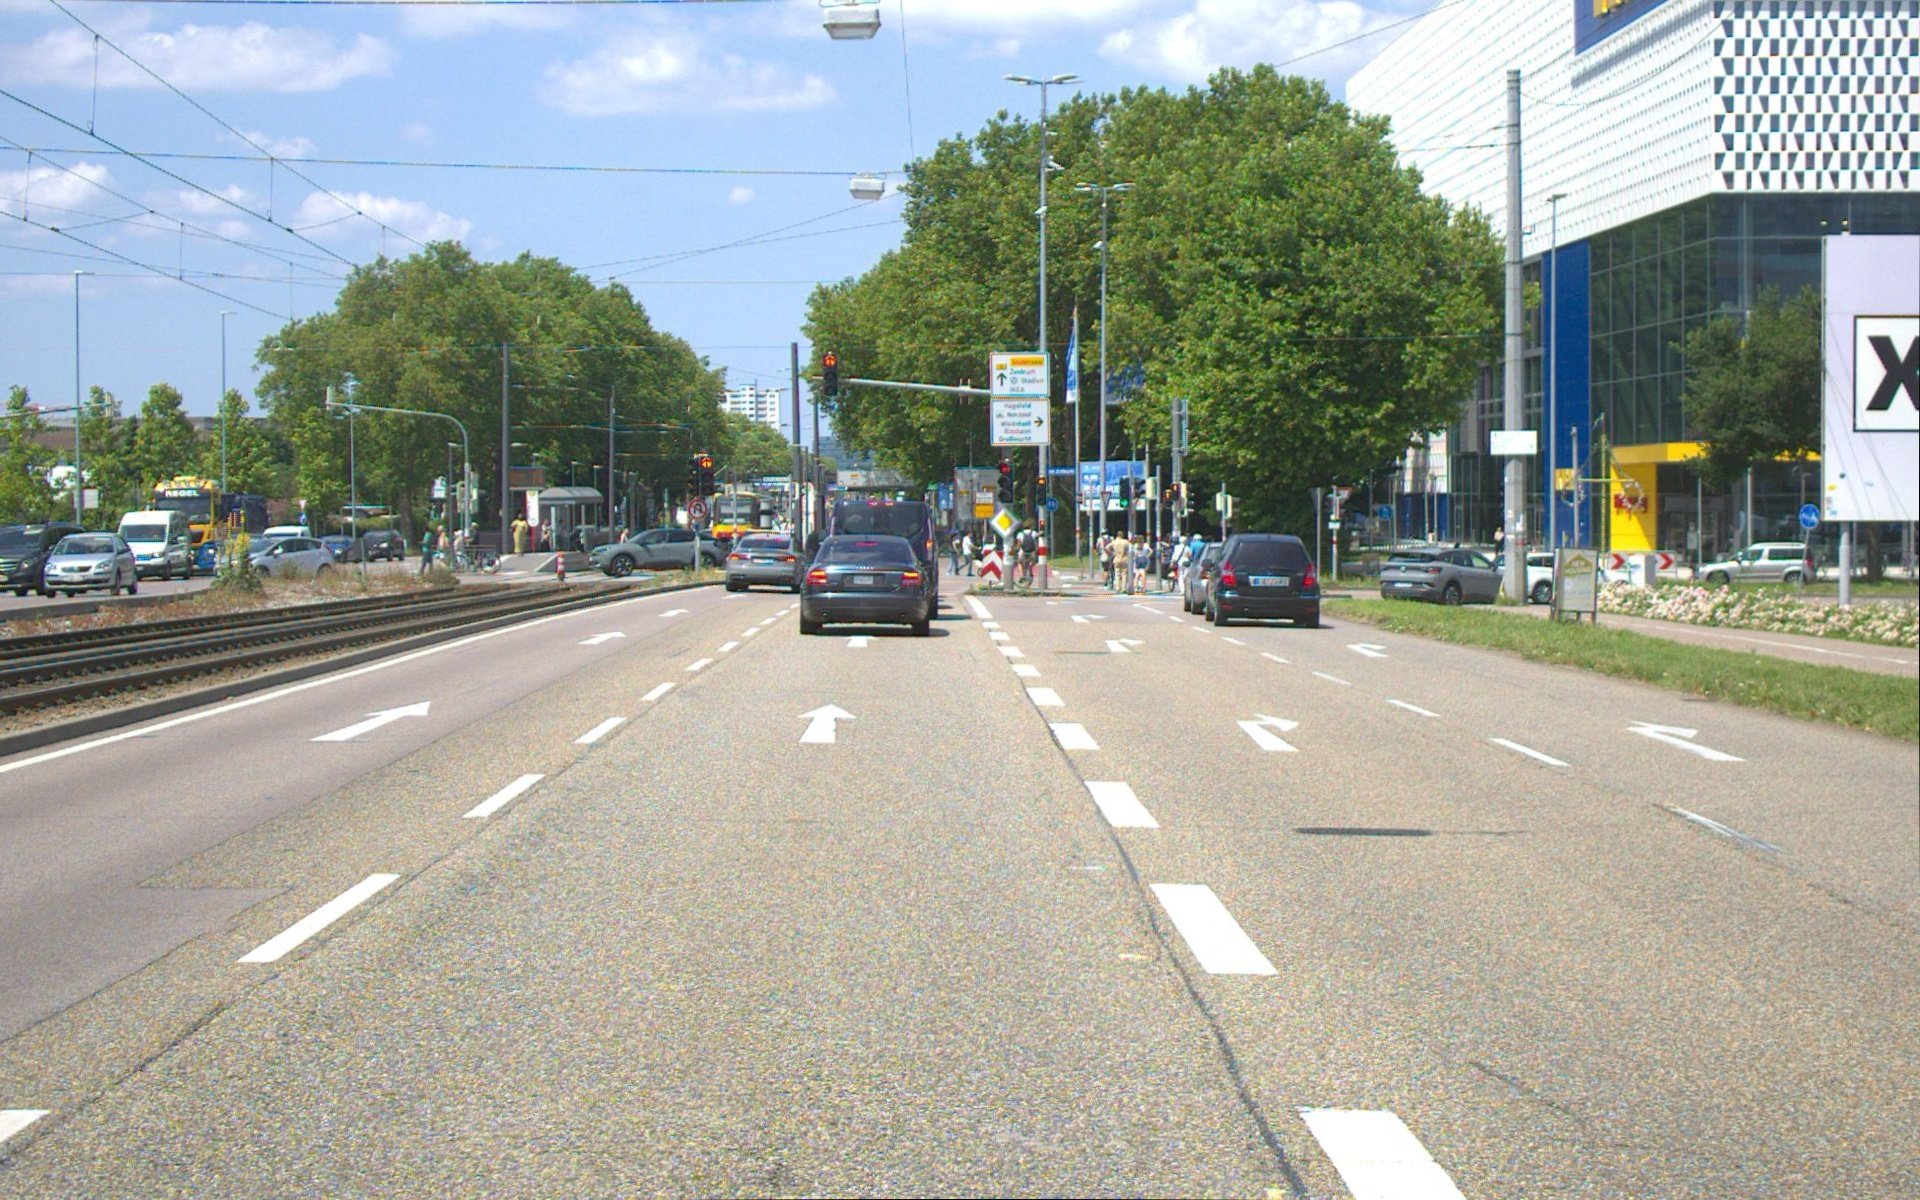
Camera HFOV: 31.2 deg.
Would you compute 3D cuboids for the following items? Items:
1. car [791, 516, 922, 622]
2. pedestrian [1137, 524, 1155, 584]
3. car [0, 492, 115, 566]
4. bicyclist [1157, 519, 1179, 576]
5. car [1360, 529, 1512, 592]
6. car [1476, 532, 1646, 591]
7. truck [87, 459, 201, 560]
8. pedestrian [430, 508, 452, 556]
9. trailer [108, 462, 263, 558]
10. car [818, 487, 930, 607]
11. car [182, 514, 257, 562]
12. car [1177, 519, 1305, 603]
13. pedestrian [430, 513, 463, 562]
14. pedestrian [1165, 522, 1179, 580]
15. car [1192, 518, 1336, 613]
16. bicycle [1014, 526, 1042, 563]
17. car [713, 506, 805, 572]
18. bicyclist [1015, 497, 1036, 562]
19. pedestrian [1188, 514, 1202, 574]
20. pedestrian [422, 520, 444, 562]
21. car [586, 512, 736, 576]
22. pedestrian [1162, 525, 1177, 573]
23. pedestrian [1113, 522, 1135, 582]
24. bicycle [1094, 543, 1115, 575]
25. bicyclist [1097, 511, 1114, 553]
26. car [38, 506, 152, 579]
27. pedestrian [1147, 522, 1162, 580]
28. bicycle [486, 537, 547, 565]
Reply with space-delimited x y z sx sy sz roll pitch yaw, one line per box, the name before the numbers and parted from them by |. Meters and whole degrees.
car | -1.460 -0.479 49.539 1.792 1.450 4.000 0 2 -1
pedestrian | 5.151 -1.273 95.115 0.445 1.629 0.430 1 1 2
car | -24.193 -1.852 89.578 1.995 1.824 4.966 -1 2 15
bicyclist | 6.516 -1.642 107.478 0.529 1.758 0.827 1 1 13
car | 12.150 -1.002 87.597 1.998 1.481 4.136 3 2 37
car | 17.101 -1.093 97.804 4.375 1.481 2.000 1 2 -28
truck | -30.025 -3.321 126.720 2.767 3.557 6.440 1 1 -1
pedestrian | -17.819 -2.331 118.023 0.685 1.631 0.573 1 1 -4
trailer | -30.195 -3.490 134.799 2.767 3.506 15.880 1 1 -1
car | -1.481 -0.944 59.388 1.836 1.943 4.001 1 2 -1
car | -27.315 -2.302 126.908 1.822 1.664 4.462 2 1 -1
car | 5.374 -0.773 66.224 1.993 1.481 4.167 2 2 -1
pedestrian | -18.133 -2.203 121.422 0.824 1.714 0.774 2 1 21
pedestrian | 5.986 -1.386 97.097 0.339 1.629 0.377 1 1 2
car | 5.164 -0.623 58.855 1.993 1.481 4.000 2 2 -1
bicycle | 1.880 -1.544 95.249 0.687 0.990 2.752 1 1 -1
car | -4.798 -1.486 82.613 1.993 1.481 4.000 2 2 -1
bicyclist | 1.800 -1.937 95.149 0.528 1.783 1.088 1 1 0
pedestrian | 6.497 -1.552 95.108 0.320 1.629 0.377 1 1 2
pedestrian | -18.221 -2.047 118.855 0.685 1.438 0.573 1 1 -4
car | -9.731 -1.819 111.809 4.395 1.911 2.001 2 2 -21
pedestrian | 5.782 -1.412 95.090 0.372 1.299 0.365 1 1 2
pedestrian | 4.538 -1.328 95.138 0.554 1.629 0.433 1 1 2
bicycle | 4.081 -1.164 96.862 0.550 0.874 1.697 1 1 2
bicyclist | 4.105 -1.918 97.149 0.470 1.189 0.791 1 1 2
car | -19.811 -1.336 78.850 1.685 1.578 4.059 -2 2 -2
pedestrian | 5.512 -1.381 97.254 0.381 1.629 0.377 1 1 2
bicycle | -15.273 -1.685 118.352 2.055 0.922 0.753 1 1 -10
